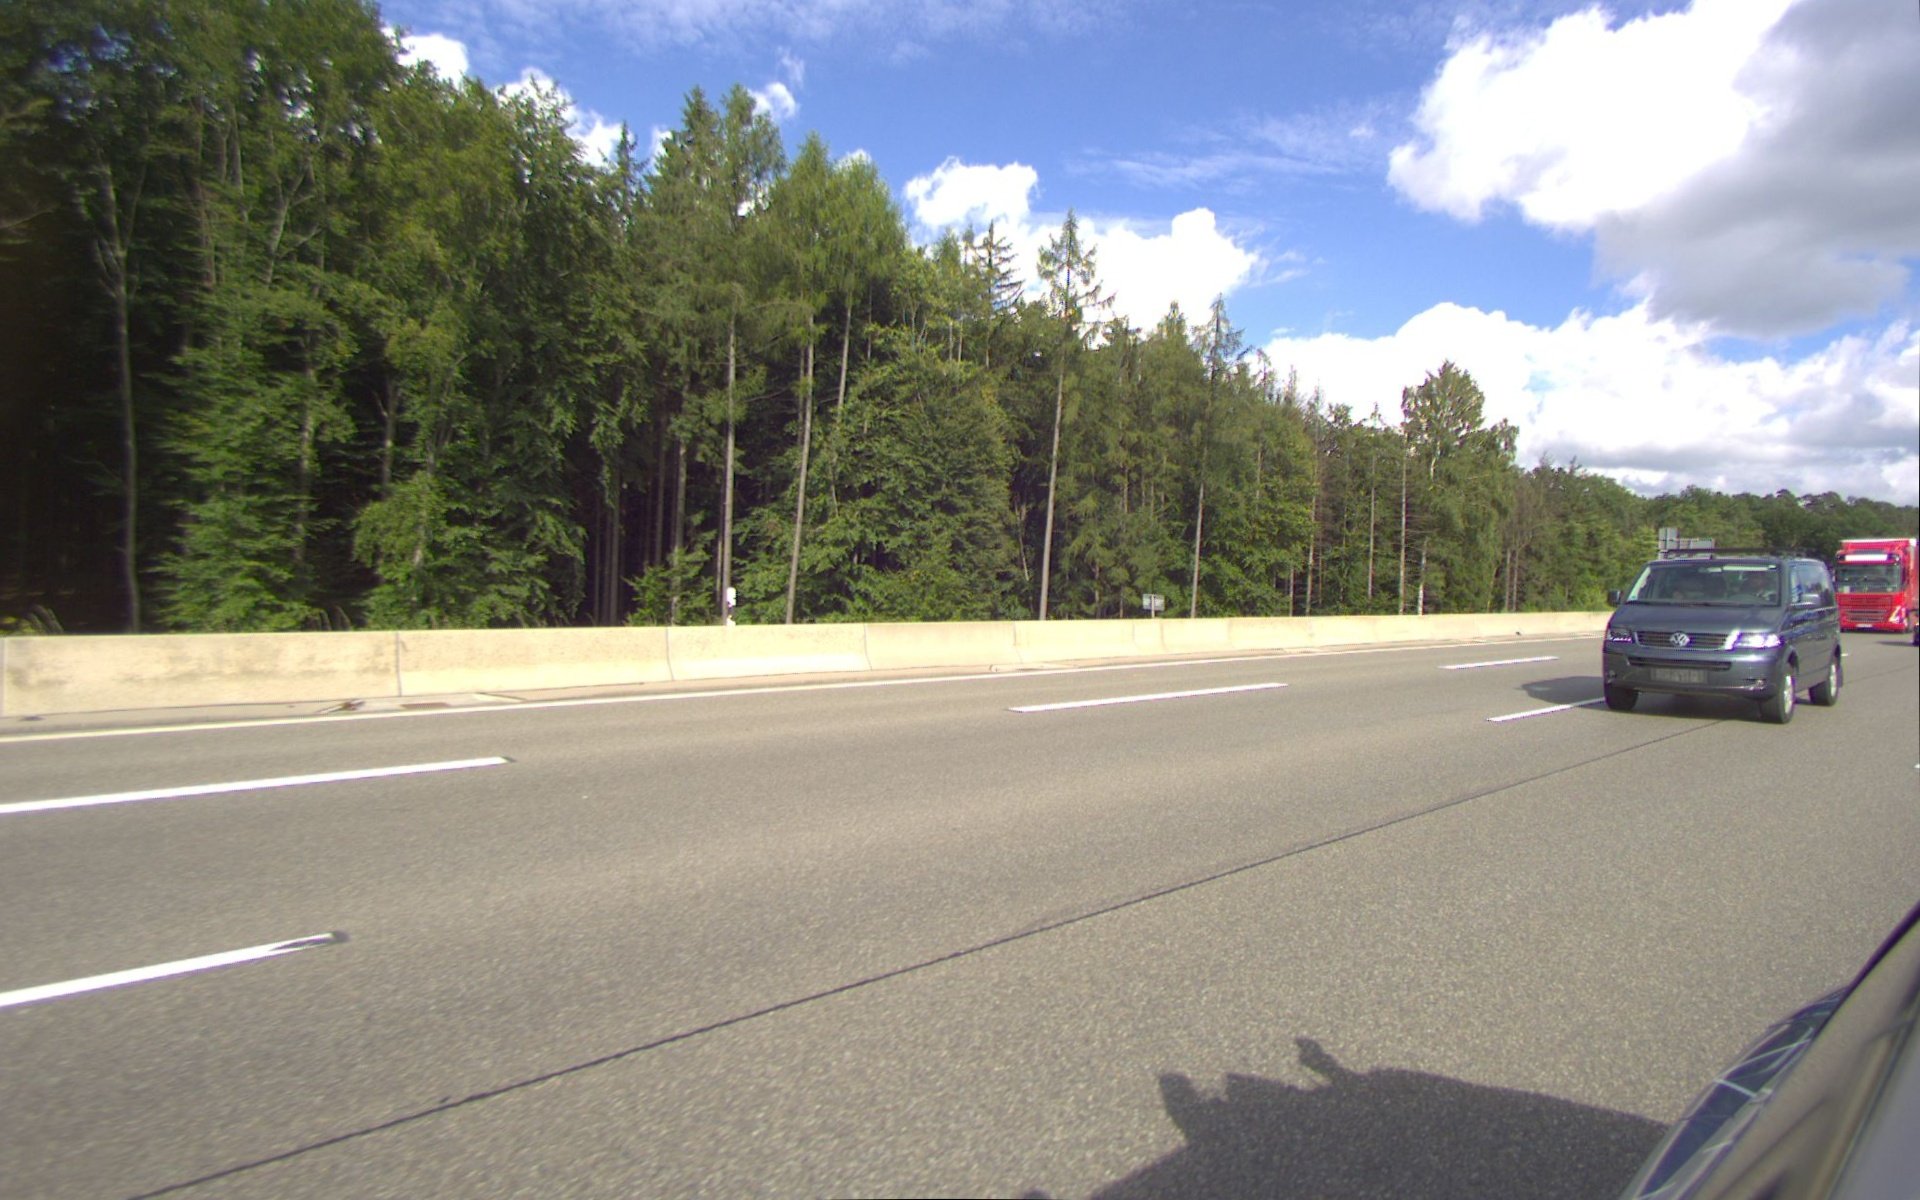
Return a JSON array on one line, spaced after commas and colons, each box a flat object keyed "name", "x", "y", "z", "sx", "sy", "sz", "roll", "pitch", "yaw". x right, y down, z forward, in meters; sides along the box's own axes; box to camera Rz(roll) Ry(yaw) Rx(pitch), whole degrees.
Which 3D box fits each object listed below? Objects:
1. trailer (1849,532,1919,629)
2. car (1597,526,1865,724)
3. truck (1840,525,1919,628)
[{"name": "trailer", "x": 46.121, "y": -0.961, "z": 48.953, "sx": 14.122, "sy": 4.171, "sz": 2.530, "roll": -1, "pitch": 1, "yaw": -40}, {"name": "car", "x": 10.420, "y": 0.248, "z": 13.527, "sx": 4.875, "sy": 2.192, "sz": 1.925, "roll": 0, "pitch": 1, "yaw": -42}, {"name": "truck", "x": 40.742, "y": -1.038, "z": 44.409, "sx": 4.572, "sy": 4.255, "sz": 2.531, "roll": -1, "pitch": 1, "yaw": -41}]
